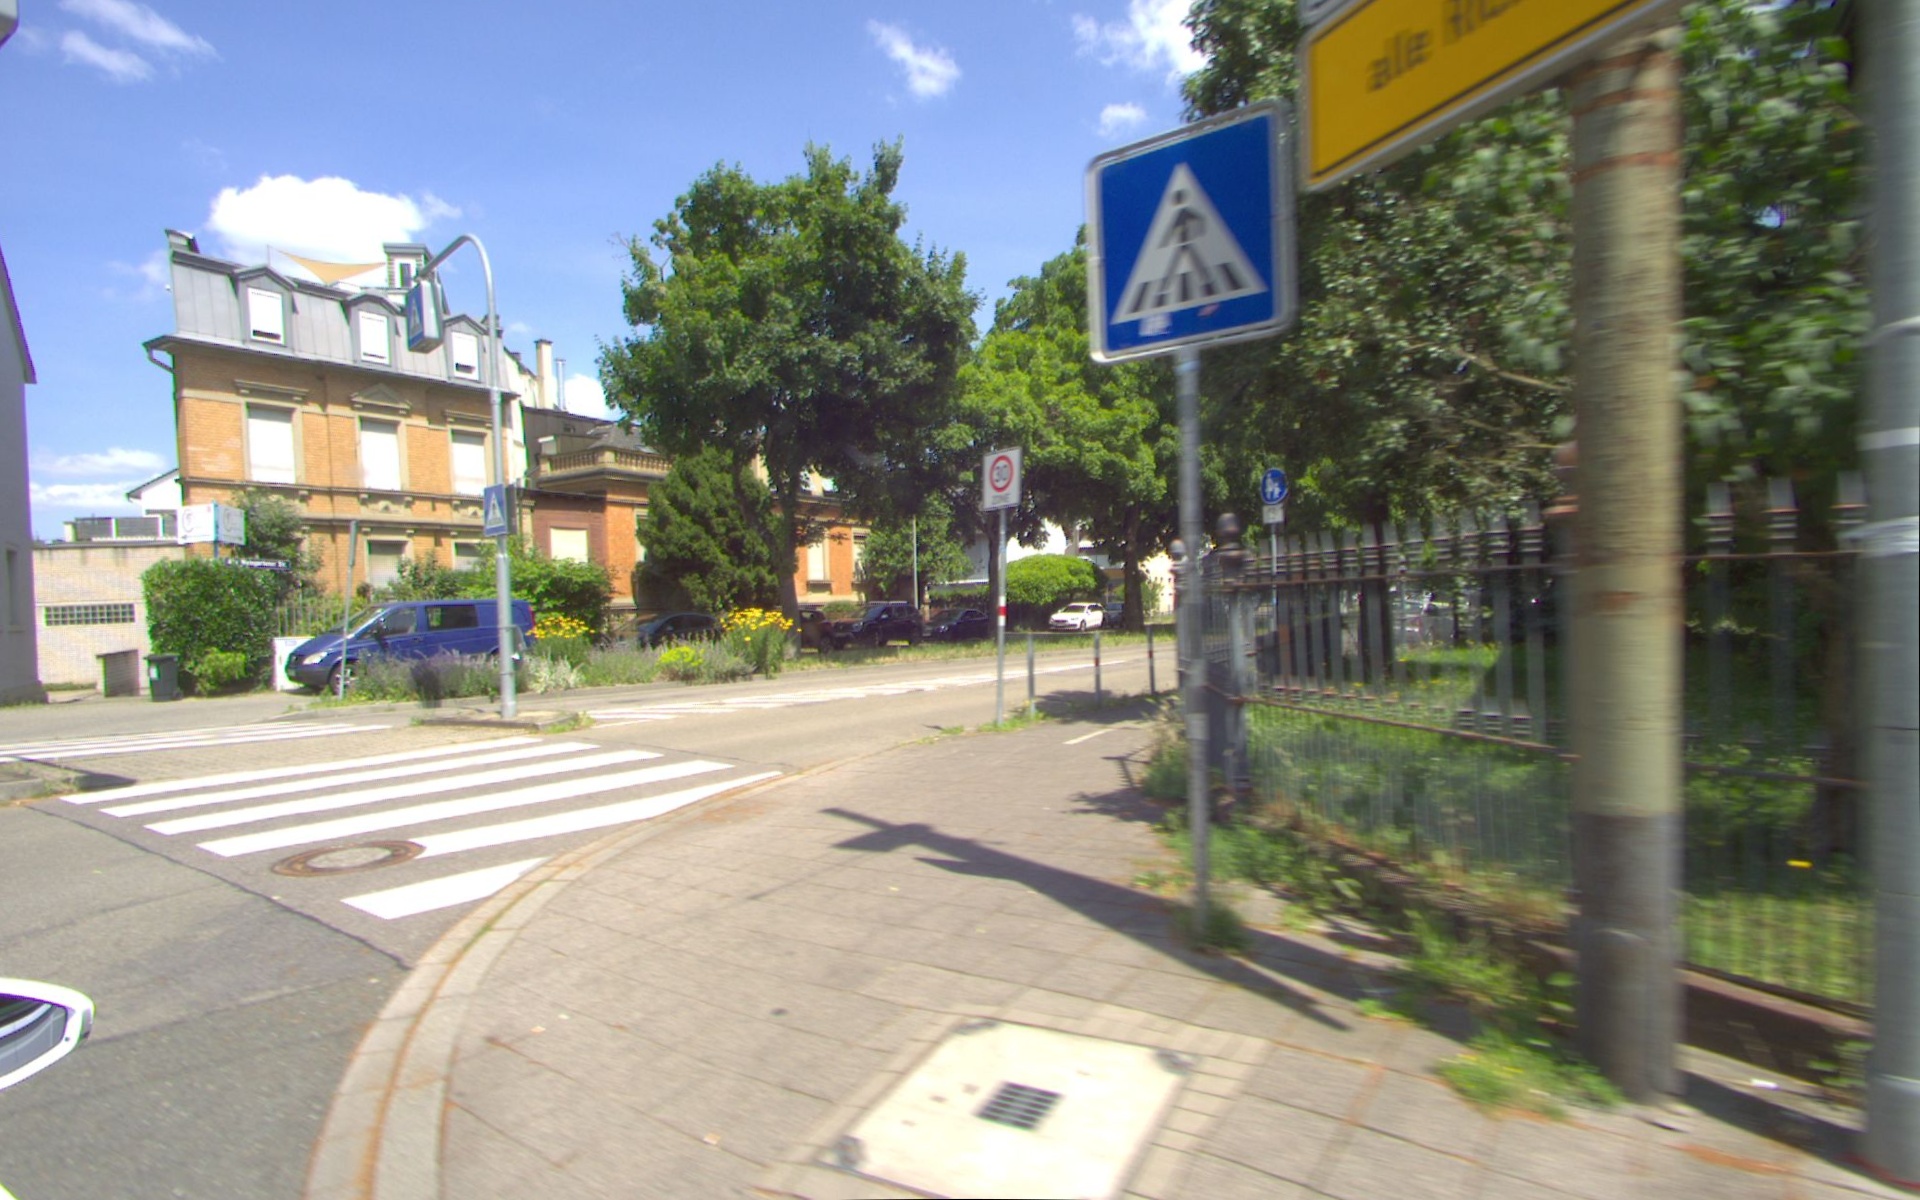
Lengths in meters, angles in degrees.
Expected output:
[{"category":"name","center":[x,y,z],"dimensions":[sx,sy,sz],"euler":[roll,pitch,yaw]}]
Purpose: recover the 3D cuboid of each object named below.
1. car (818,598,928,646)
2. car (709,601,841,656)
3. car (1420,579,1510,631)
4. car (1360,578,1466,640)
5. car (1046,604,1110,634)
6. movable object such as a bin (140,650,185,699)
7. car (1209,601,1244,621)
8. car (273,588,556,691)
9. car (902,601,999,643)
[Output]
[{"category":"car","center":[-3.131,0.819,36.982],"dimensions":[1.835,1.610,4.221],"euler":[-4,-3,33]},{"category":"car","center":[-5.951,0.922,32.691],"dimensions":[1.835,1.610,4.221],"euler":[-4,-3,33]},{"category":"car","center":[15.824,0.177,31.310],"dimensions":[1.590,1.458,3.699],"euler":[-4,-3,41]},{"category":"car","center":[12.565,0.239,27.669],"dimensions":[1.588,1.573,3.699],"euler":[3,2,41]},{"category":"car","center":[6.228,1.001,52.303],"dimensions":[1.493,1.411,4.436],"euler":[-4,-3,32]},{"category":"movable object such as a bin","center":[-15.726,1.463,19.751],"dimensions":[0.549,0.927,0.420],"euler":[-2,-2,7]},{"category":"car","center":[20.479,0.844,76.887],"dimensions":[1.492,1.411,4.441],"euler":[-3,-3,29]},{"category":"car","center":[-12.140,0.778,22.644],"dimensions":[2.059,1.974,5.199],"euler":[0,1,40]},{"category":"car","center":[-0.326,0.924,41.536],"dimensions":[1.835,1.610,4.436],"euler":[-4,-3,33]}]
